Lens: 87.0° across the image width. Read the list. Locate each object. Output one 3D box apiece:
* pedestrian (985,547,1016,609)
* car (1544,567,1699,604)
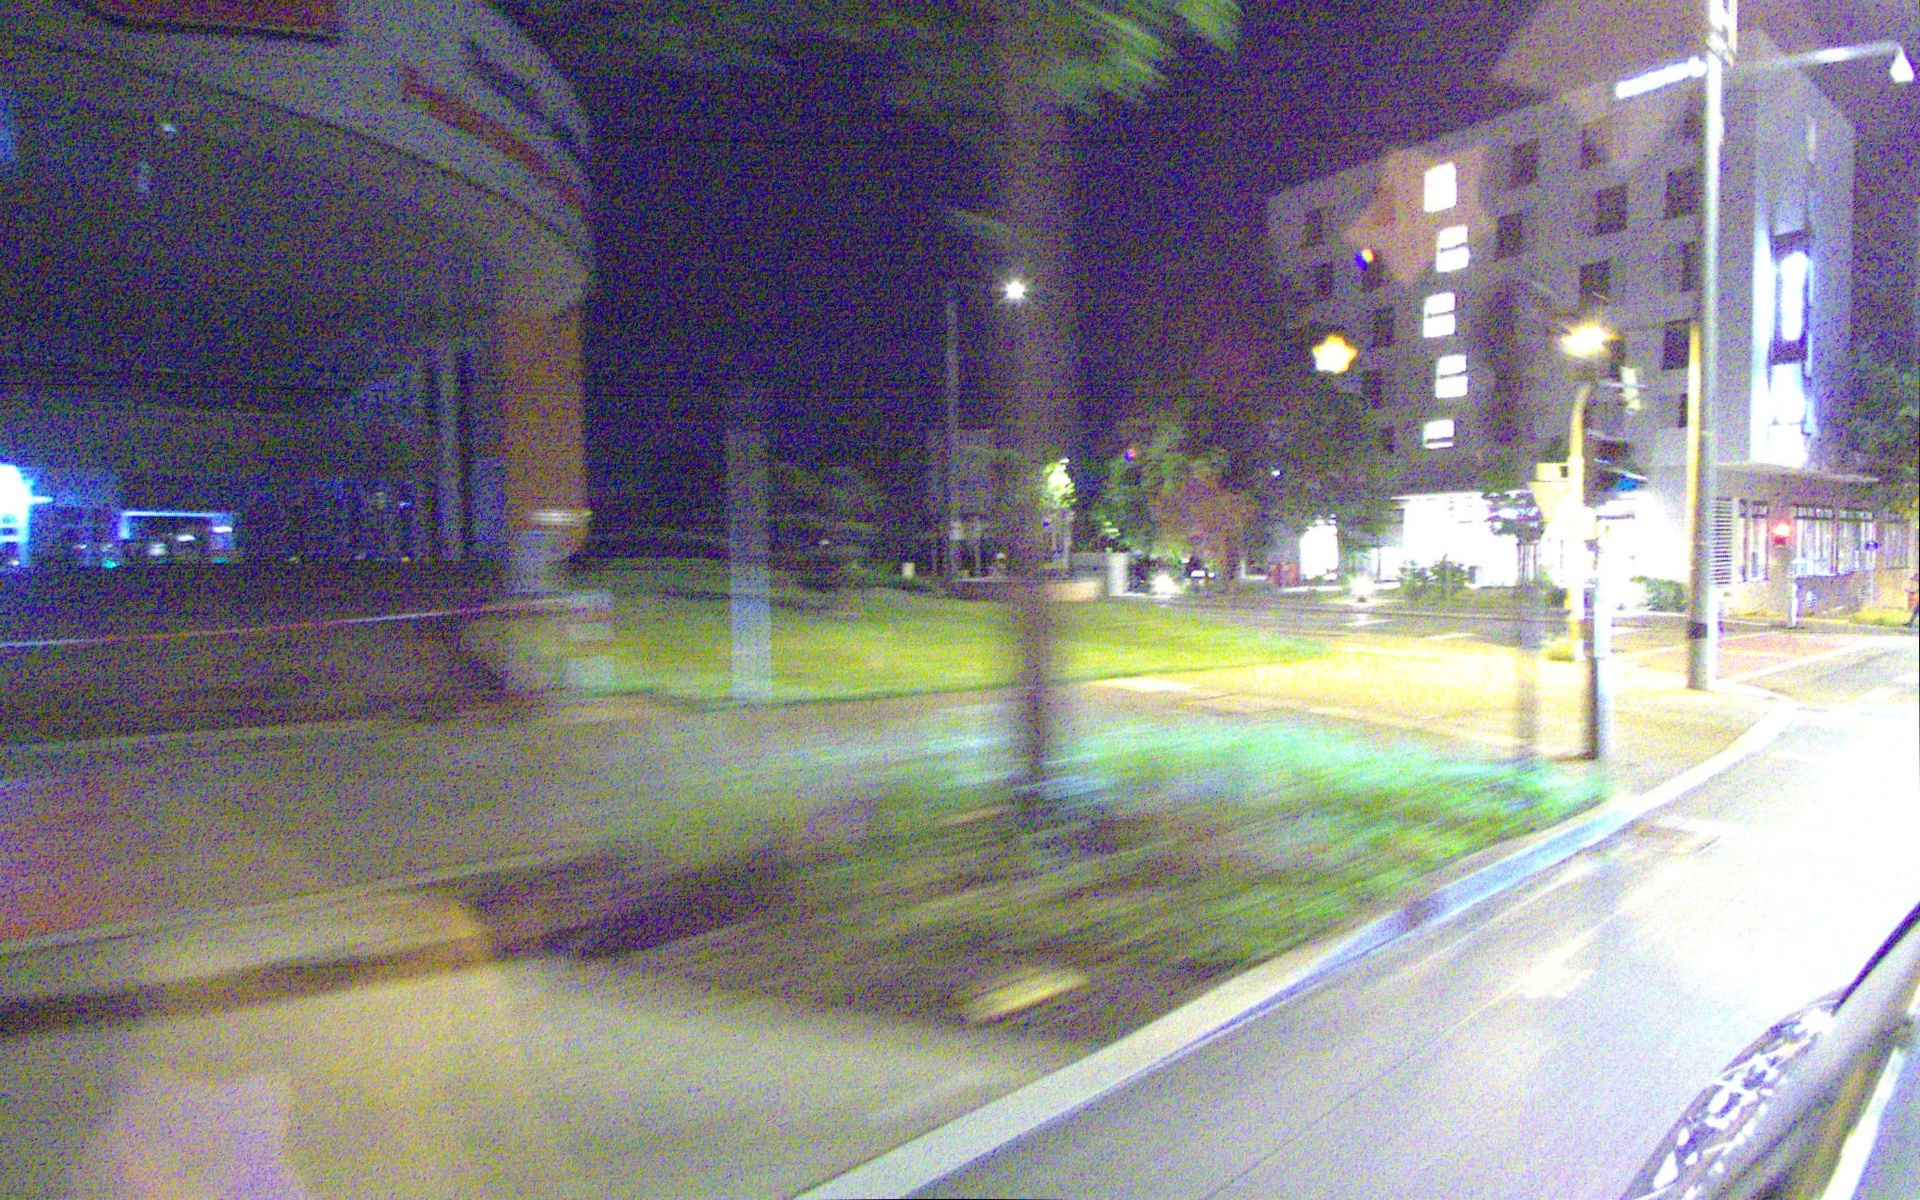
[{"bbox_3d":[1.255,-0.681,31.604,0.719,1.900,0.663,0,1,-42],"label":"pedestrian"},{"bbox_3d":[21.693,-0.485,33.304,3.935,1.047,1.480,2,1,10],"label":"car"}]
